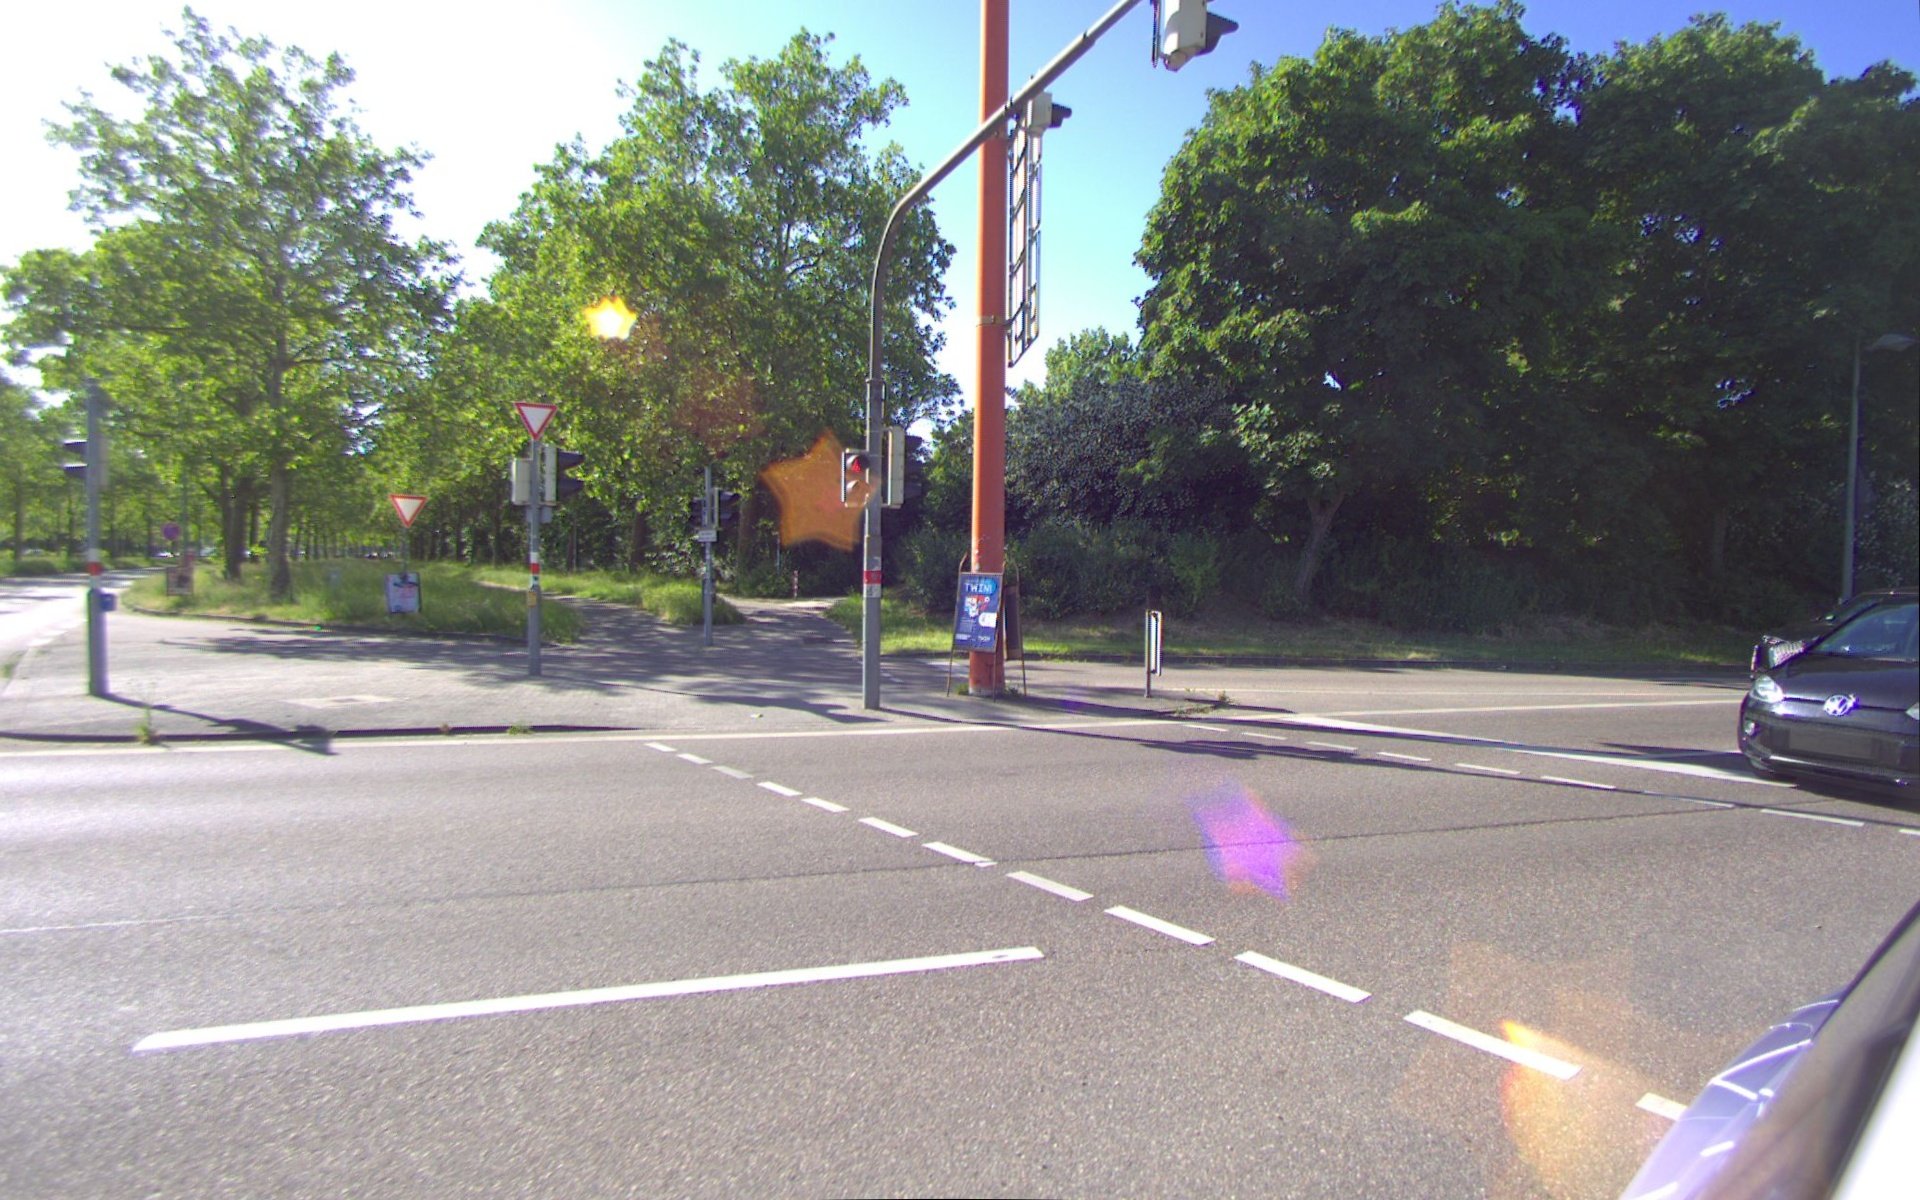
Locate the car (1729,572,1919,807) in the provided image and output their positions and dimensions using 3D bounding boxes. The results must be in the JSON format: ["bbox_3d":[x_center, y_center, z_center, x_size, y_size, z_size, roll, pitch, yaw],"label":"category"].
[{"bbox_3d":[7.670,0.564,7.385,3.380,1.512,1.626,0,1,-18],"label":"car"}]

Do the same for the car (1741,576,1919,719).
[{"bbox_3d":[11.684,0.476,12.152,3.880,1.512,1.719,0,1,-17],"label":"car"}]
